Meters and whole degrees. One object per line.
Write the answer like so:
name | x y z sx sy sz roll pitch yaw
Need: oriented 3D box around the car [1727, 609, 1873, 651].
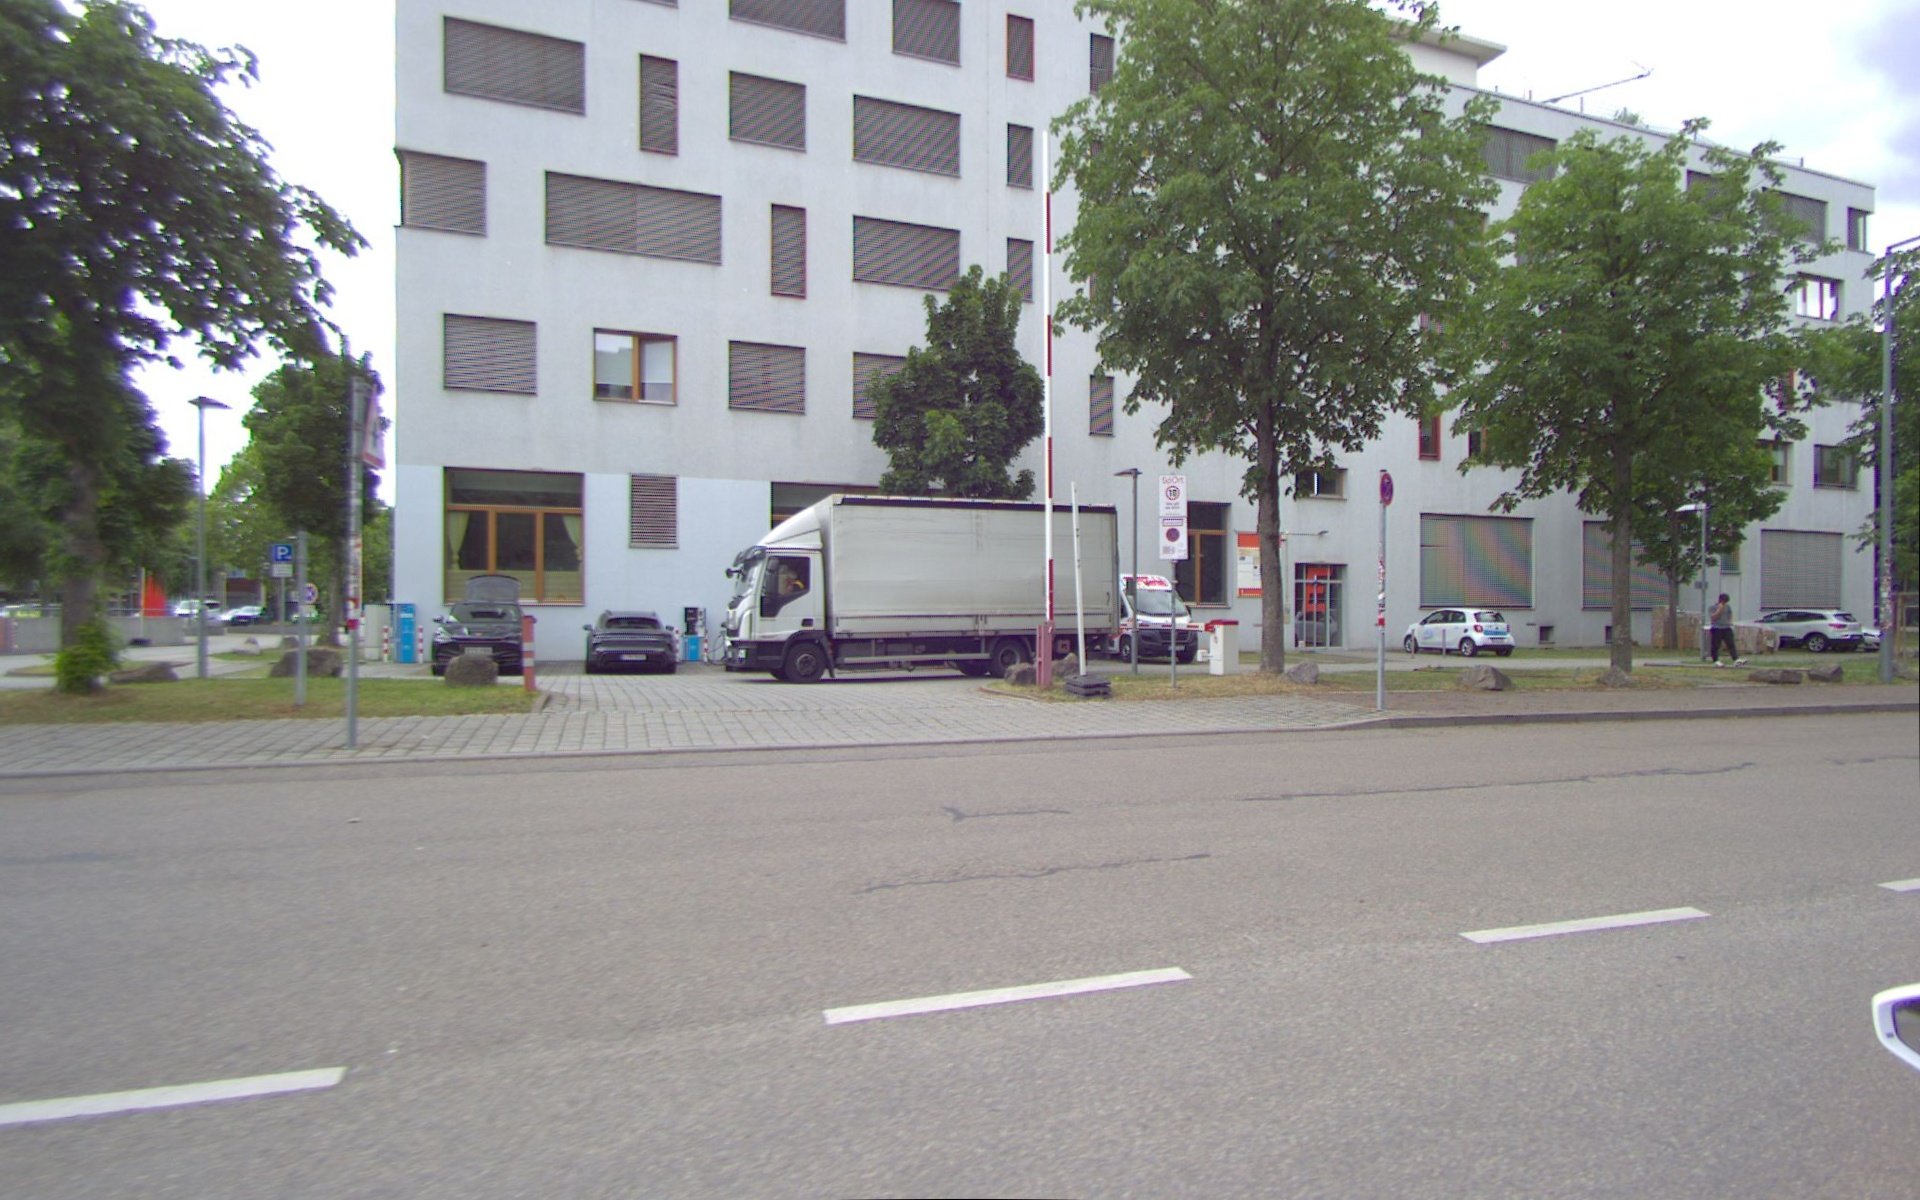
car | 32.764 1.125 39.308 1.873 1.475 3.989 2 0 -23

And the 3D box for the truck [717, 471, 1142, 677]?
truck | -0.566 -0.349 20.590 8.243 3.648 2.672 2 0 -22

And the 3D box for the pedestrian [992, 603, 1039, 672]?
pedestrian | 1.348 0.906 24.282 0.880 1.627 0.672 2 0 -38

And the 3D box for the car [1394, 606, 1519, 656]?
car | 16.518 0.993 33.596 1.666 1.520 3.609 2 0 -19

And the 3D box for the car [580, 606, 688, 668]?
car | -7.938 0.838 24.119 2.151 1.261 5.128 2 0 -21

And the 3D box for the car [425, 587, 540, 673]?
car | -10.695 0.618 22.838 2.069 1.715 5.306 2 0 -23

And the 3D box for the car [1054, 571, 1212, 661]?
car | 4.836 0.438 29.132 2.047 2.309 5.621 2 0 -19

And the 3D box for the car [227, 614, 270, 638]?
car | -57.477 2.072 81.216 1.781 1.770 3.982 2 0 -20

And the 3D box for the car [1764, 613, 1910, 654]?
car | 35.094 1.322 40.323 1.873 1.475 3.989 2 0 -23

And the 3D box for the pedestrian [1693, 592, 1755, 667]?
pedestrian | 17.705 0.673 23.293 0.776 1.694 0.841 2 0 -24

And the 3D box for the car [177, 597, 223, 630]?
car | -60.903 1.080 80.562 1.781 2.508 3.982 2 0 -20

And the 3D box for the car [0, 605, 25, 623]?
car | -95.032 1.352 98.938 3.950 1.770 1.796 2 0 -28

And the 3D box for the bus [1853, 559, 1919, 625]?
bus | 59.794 -0.466 62.279 2.313 4.010 6.213 2 0 -18
